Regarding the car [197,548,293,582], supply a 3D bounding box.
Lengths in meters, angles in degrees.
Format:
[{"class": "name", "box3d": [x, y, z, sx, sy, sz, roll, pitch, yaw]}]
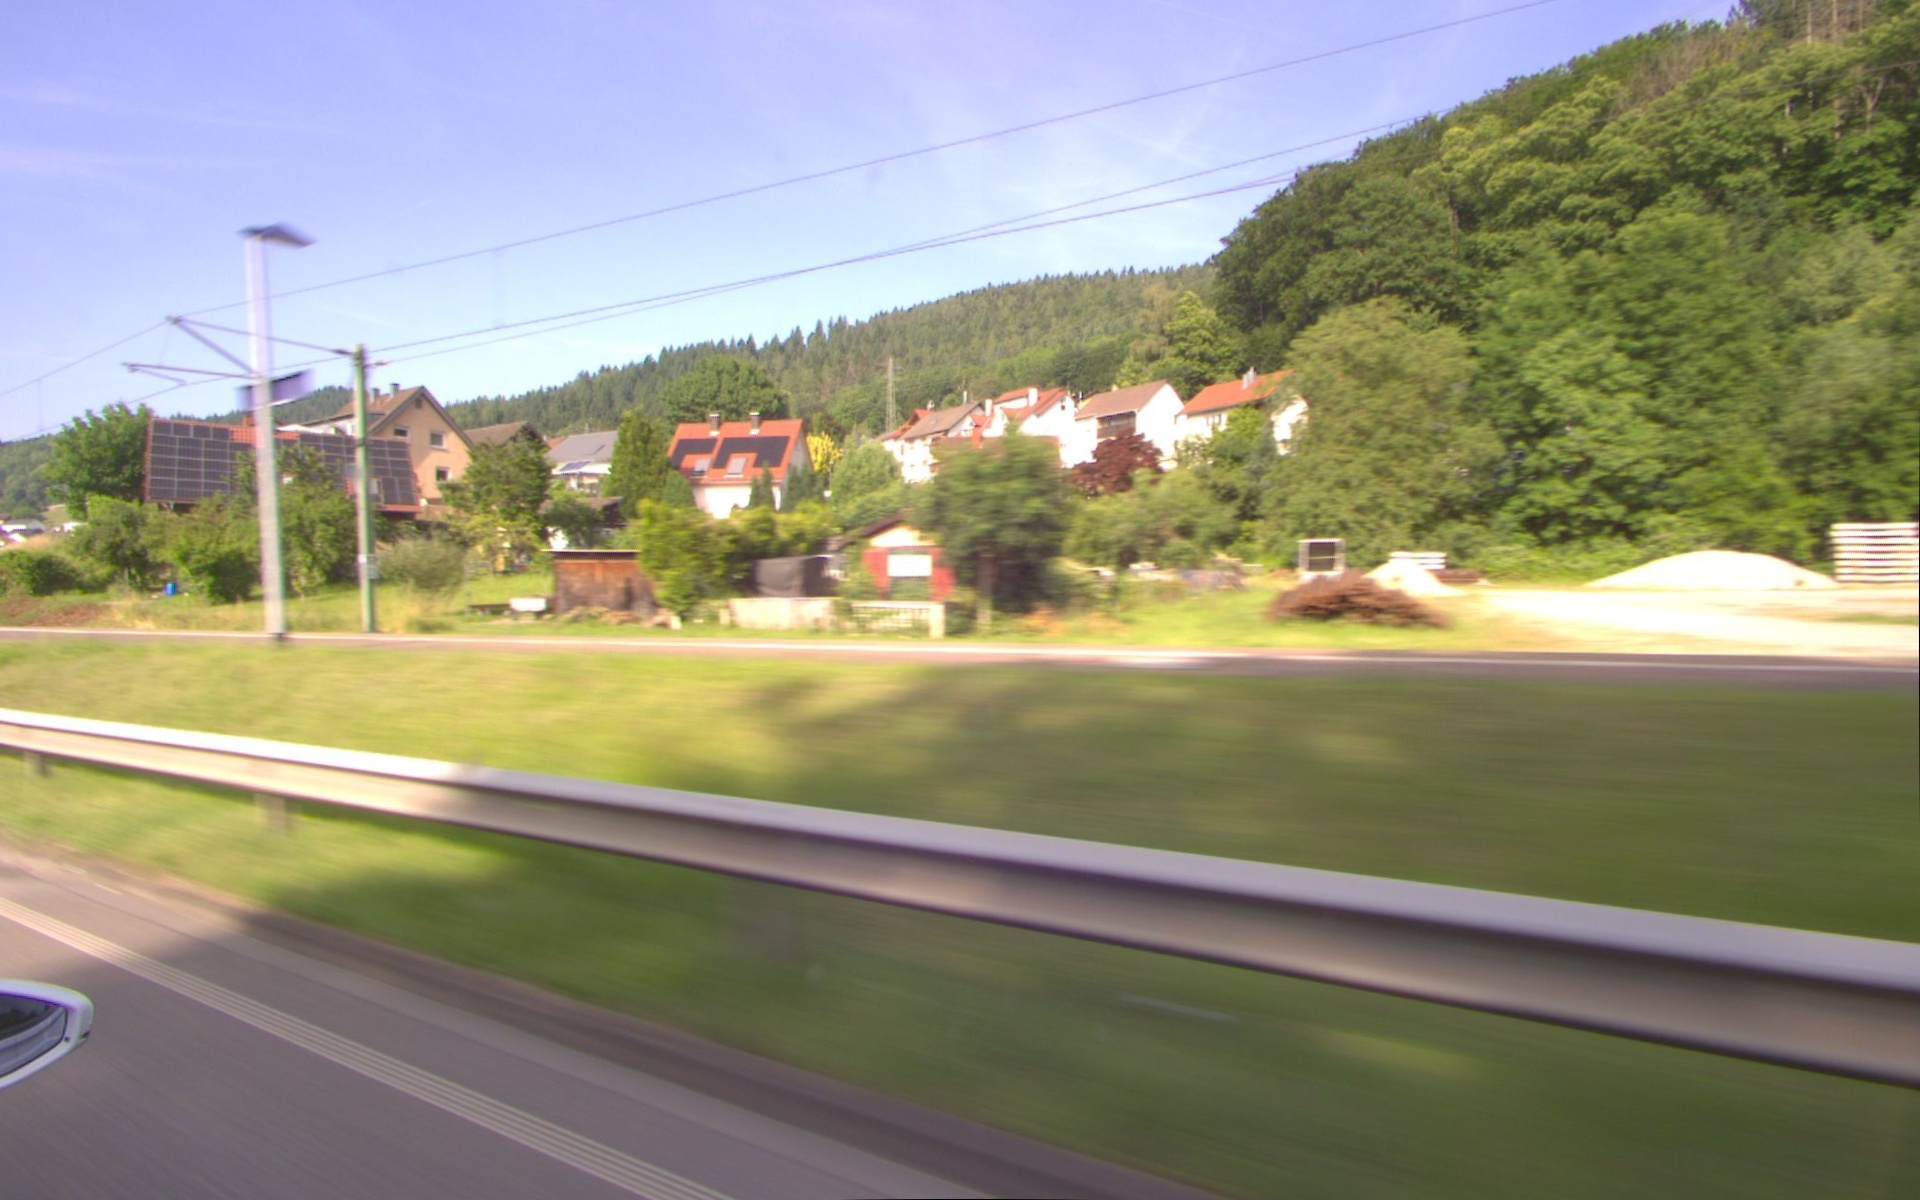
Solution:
[{"class": "car", "box3d": [-38.299, -1.879, 53.664, 3.958, 1.707, 1.981, -2, 2, -43]}]
